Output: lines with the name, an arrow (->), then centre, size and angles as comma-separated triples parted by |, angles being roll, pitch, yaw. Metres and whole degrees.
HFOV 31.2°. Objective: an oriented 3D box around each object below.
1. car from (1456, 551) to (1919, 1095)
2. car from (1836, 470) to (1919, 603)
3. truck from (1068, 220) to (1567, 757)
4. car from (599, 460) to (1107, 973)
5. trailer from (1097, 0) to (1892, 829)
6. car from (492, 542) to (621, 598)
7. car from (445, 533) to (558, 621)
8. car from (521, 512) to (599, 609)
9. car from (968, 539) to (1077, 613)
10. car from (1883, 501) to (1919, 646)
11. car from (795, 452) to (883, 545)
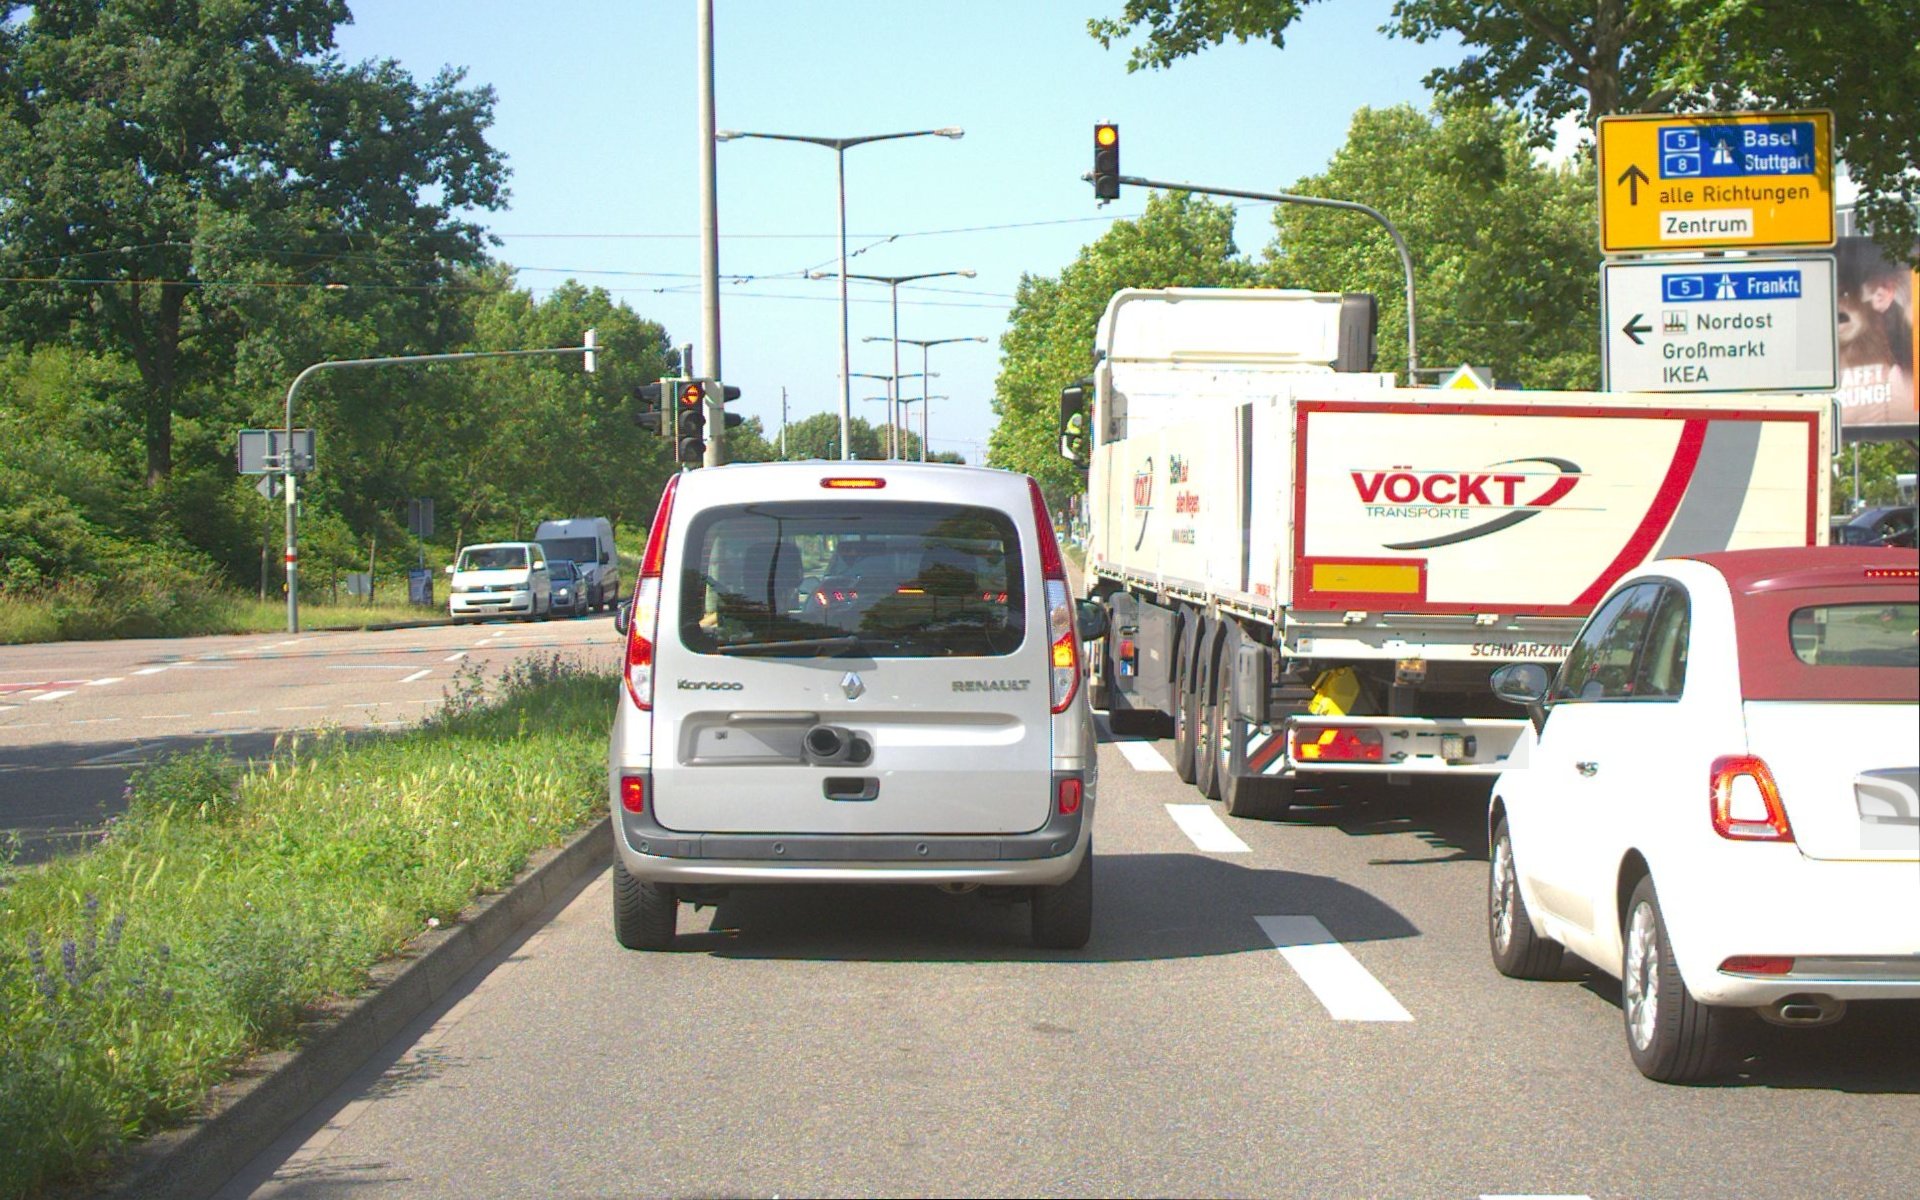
car -> 2.624, 0.567, 10.808 | 1.661, 1.431, 3.520 | 0, 1, 1
car -> 13.316, -0.796, 43.720 | 3.987, 1.656, 1.723 | 0, 1, 5
truck -> 2.620, -0.823, 27.797 | 3.071, 3.745, 7.477 | 0, 1, -1
car -> -0.403, 0.379, 13.847 | 1.749, 1.766, 3.949 | 0, 1, -1
trailer -> 2.656, -0.913, 21.634 | 3.016, 3.728, 12.240 | 0, 1, 0
car -> -10.340, -0.771, 87.835 | 1.911, 1.404, 4.228 | 0, 1, -27
car -> -10.604, -0.558, 79.877 | 1.993, 1.884, 4.988 | -3, 1, -1
car -> -11.105, -1.100, 95.489 | 2.058, 2.605, 5.871 | 0, 1, -7
car -> 1.394, -0.558, 78.111 | 1.993, 1.634, 4.001 | 0, 1, -6
car -> 12.894, -0.303, 39.854 | 3.987, 1.656, 1.723 | 0, 1, 5
car -> -2.742, -2.262, 77.395 | 1.713, 2.007, 4.001 | 0, 1, -6
